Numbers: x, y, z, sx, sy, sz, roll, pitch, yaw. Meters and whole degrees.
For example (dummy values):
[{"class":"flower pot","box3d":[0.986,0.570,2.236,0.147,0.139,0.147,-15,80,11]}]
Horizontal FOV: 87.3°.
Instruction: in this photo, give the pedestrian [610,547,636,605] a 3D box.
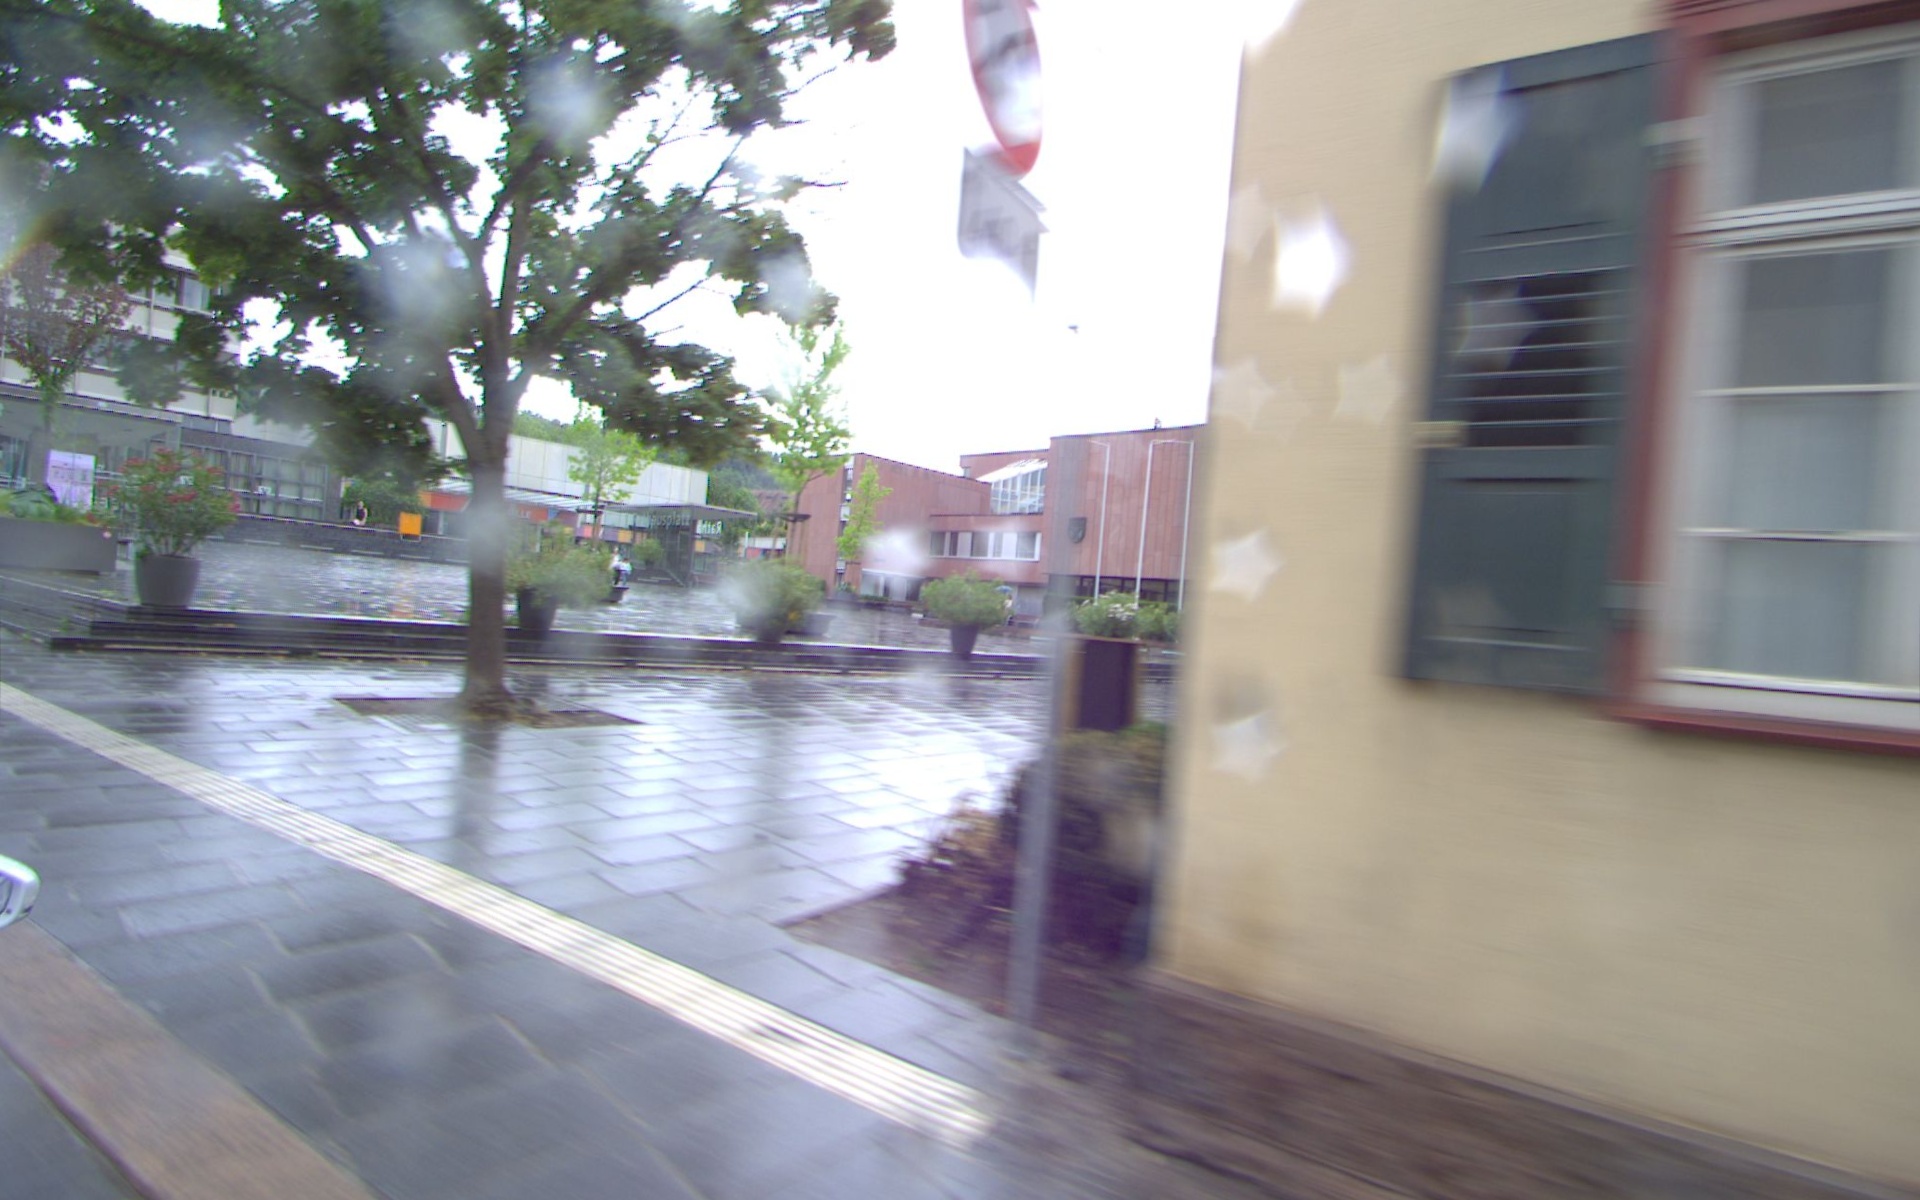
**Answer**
[{"class":"pedestrian","box3d":[-14.726,-1.055,43.980,0.562,2.471,0.731,7,2,44]}]

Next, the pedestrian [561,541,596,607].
[{"class":"pedestrian","box3d":[-16.449,-1.133,43.377,1.048,2.719,0.822,4,2,-41]}]

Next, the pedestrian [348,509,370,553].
[{"class":"pedestrian","box3d":[-30.948,-3.574,51.803,0.754,2.175,0.651,4,2,-41]}]
